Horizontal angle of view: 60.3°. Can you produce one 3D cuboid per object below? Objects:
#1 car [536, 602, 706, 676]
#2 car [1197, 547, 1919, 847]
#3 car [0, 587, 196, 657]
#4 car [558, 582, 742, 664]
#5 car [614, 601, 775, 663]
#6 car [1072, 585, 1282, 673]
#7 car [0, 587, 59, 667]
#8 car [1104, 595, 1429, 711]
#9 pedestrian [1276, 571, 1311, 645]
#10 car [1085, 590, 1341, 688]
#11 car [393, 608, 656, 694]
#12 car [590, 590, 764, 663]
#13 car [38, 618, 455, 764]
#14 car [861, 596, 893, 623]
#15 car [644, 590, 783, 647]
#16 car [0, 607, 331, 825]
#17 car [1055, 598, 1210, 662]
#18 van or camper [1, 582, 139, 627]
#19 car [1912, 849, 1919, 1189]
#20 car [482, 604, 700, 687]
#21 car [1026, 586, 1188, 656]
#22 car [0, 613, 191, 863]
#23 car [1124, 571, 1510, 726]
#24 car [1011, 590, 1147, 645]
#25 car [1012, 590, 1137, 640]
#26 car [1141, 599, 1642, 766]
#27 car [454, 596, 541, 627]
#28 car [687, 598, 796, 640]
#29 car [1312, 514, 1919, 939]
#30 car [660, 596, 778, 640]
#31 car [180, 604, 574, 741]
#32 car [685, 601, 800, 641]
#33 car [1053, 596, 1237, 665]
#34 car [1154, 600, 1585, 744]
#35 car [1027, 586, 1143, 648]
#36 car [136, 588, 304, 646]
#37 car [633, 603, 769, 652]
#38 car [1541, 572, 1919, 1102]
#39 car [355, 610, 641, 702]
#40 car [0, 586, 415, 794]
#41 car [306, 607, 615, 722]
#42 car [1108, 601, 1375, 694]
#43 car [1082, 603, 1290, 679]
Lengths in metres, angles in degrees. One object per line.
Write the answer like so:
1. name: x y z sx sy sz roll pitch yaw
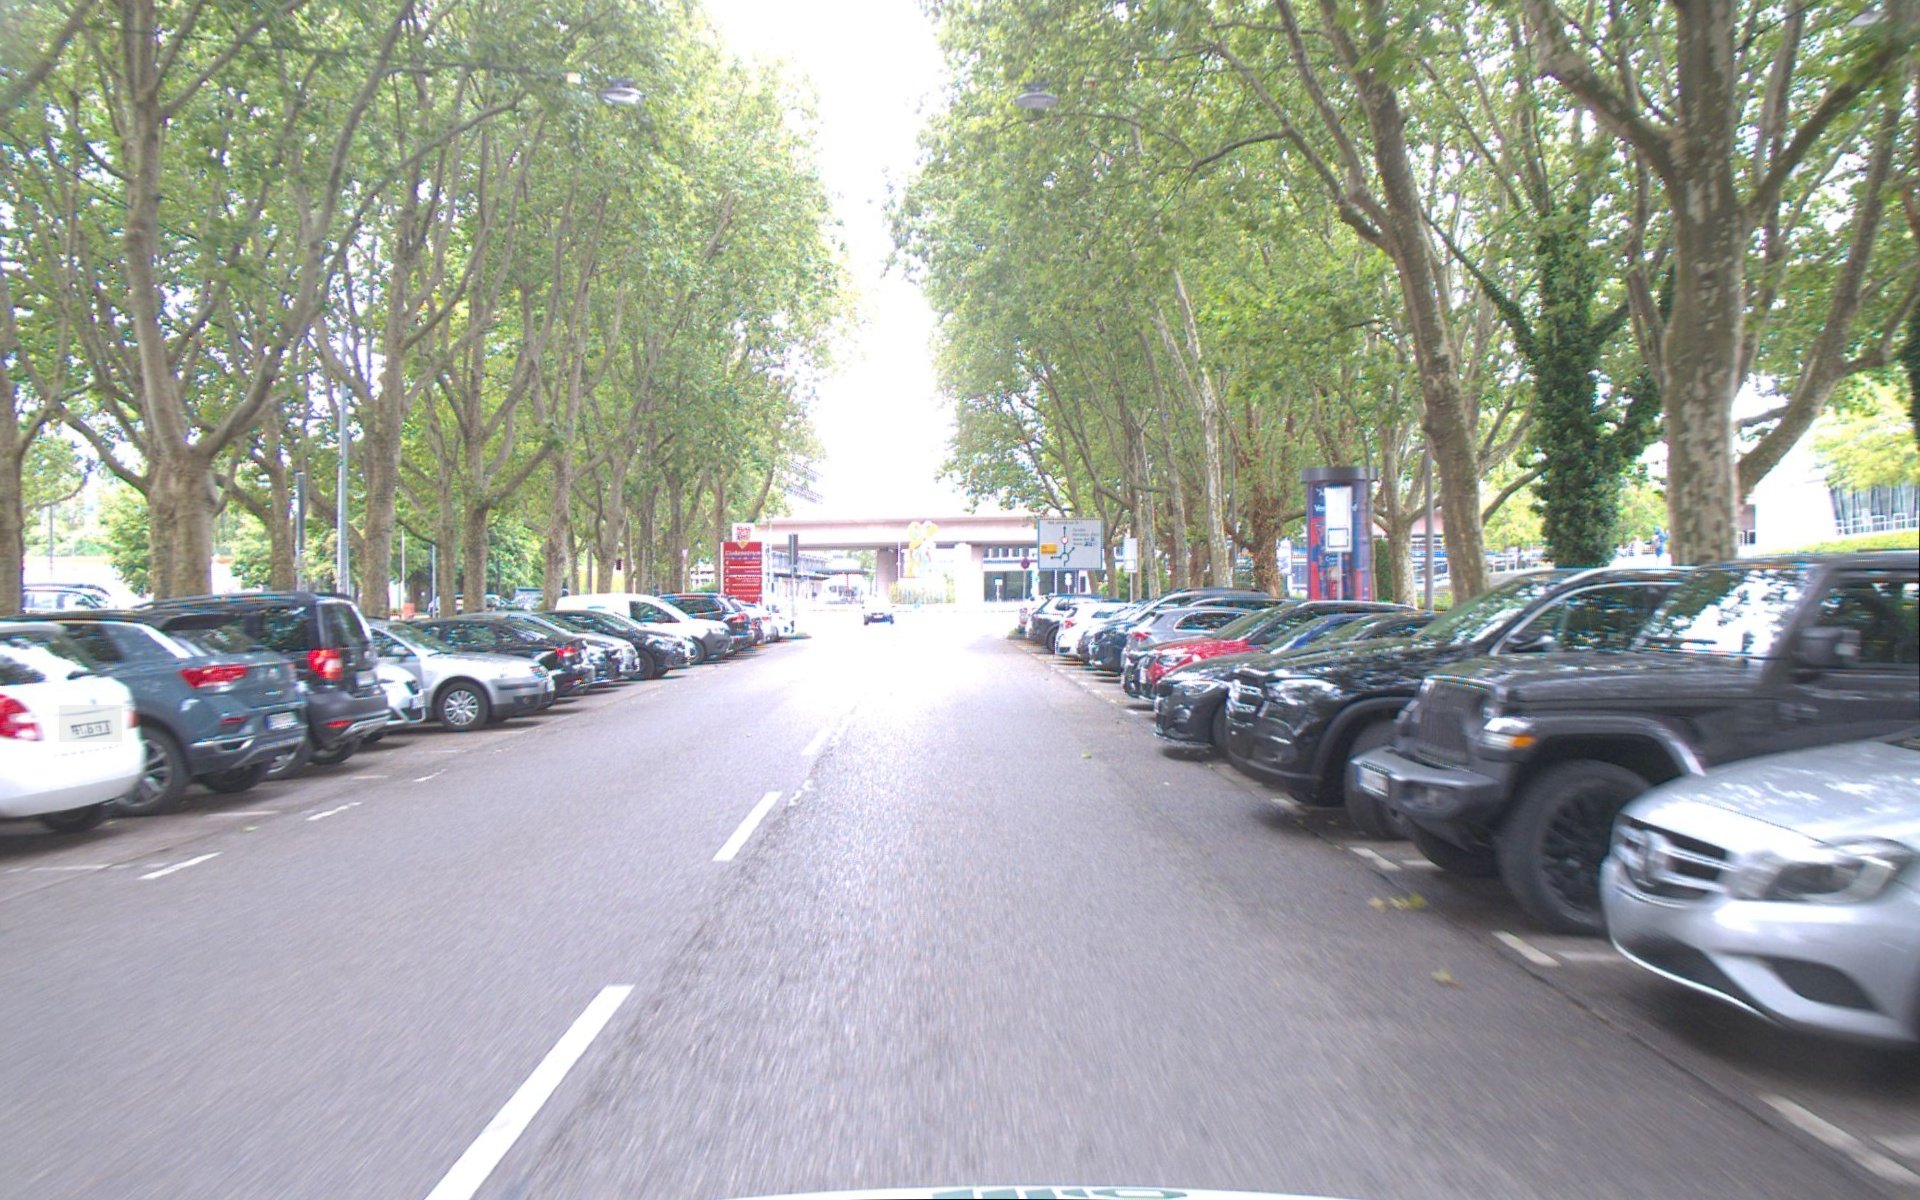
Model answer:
1. car: -7.823 0.876 38.310 3.715 1.497 1.760 -2 0 -12
2. car: 4.032 0.613 11.571 4.404 1.828 2.047 1 1 -1
3. car: -23.110 0.571 44.076 4.427 1.793 2.296 0 0 -2
4. car: -7.631 0.550 41.013 4.233 1.841 1.866 -2 0 -5
5. car: -7.324 0.872 45.974 4.044 1.477 2.014 -3 0 1
6. car: 4.670 0.611 35.963 4.259 1.776 1.836 1 0 -3
7. car: -23.103 0.578 37.122 4.460 1.756 2.296 0 0 -2
8. car: 4.378 0.745 24.005 4.263 1.528 1.923 1 1 -7
9. pedestrian: 9.387 0.223 46.565 0.772 2.049 0.596 1 -1 -17
10. car: 4.654 0.704 30.865 4.496 1.668 1.873 1 1 1
11. car: -8.063 0.922 30.909 4.373 1.393 1.879 -2 0 -1
12. car: -7.389 0.685 43.532 4.229 1.826 2.036 0 0 -1
13. car: -7.894 0.978 18.586 3.852 1.388 1.826 -2 0 -2
14. car: -4.830 0.571 96.743 1.805 1.536 4.013 0 0 -2
15. car: -7.928 0.591 53.491 4.179 1.575 1.907 -3 0 -3
16. car: -7.277 0.898 13.133 3.852 1.542 1.727 -2 0 -2
17. car: 4.234 0.734 40.976 3.567 1.452 1.664 1 1 -4
18. van or camper: -35.001 0.179 65.119 4.233 1.739 2.131 0 0 -2
19. car: 4.528 0.790 3.403 4.111 1.545 1.785 2 0 -1
20. car: -7.367 0.890 33.241 3.896 1.445 1.756 -3 0 2
21. car: 4.063 0.577 46.051 4.259 1.791 1.925 1 0 -2
22. car: -7.572 0.919 11.185 3.909 1.511 1.704 -2 0 4
23. car: 4.491 0.586 21.225 4.410 1.828 2.044 1 1 -7
24. car: 3.844 0.562 53.860 4.257 1.662 1.925 1 1 0
25. car: 4.030 0.520 58.524 4.257 1.662 1.925 1 1 0
26. car: 4.095 0.767 16.252 4.403 1.453 1.932 1 0 0
27. car: -23.832 0.609 85.404 3.905 1.549 2.001 0 0 -1
28. car: -8.362 0.739 63.566 3.911 1.567 1.805 0 0 1
29. car: 4.293 0.593 8.611 4.407 1.899 2.046 1 0 -4
30. car: -8.520 0.628 58.621 3.912 1.520 1.832 0 0 -1
31. car: -7.326 0.891 21.102 4.374 1.508 1.702 -2 0 -2
32. car: -8.009 0.760 61.160 3.910 1.409 1.912 0 0 3
33. car: 4.248 0.688 38.481 4.064 1.483 1.727 1 0 0
34. car: 4.489 0.770 18.623 4.402 1.444 1.829 1 0 1
35. car: 4.386 0.578 58.477 3.905 2.049 2.000 1 0 0
36. car: -23.017 0.533 51.586 4.233 1.739 2.131 0 0 -2
37. car: -7.932 0.841 50.867 3.906 1.429 1.885 0 0 -2
38. car: 4.658 0.750 5.979 4.402 1.599 2.048 1 1 2
39. car: -7.935 0.950 28.718 4.371 1.371 1.902 -2 0 1
40. car: -7.379 0.803 15.598 3.852 1.738 1.751 -2 0 -2
41. car: -7.021 0.890 23.545 3.852 1.422 1.702 -2 0 -2
42. car: 4.770 0.787 28.507 4.257 1.438 1.925 1 1 0
43. car: 4.541 0.813 33.585 3.958 1.404 1.743 1 1 0
